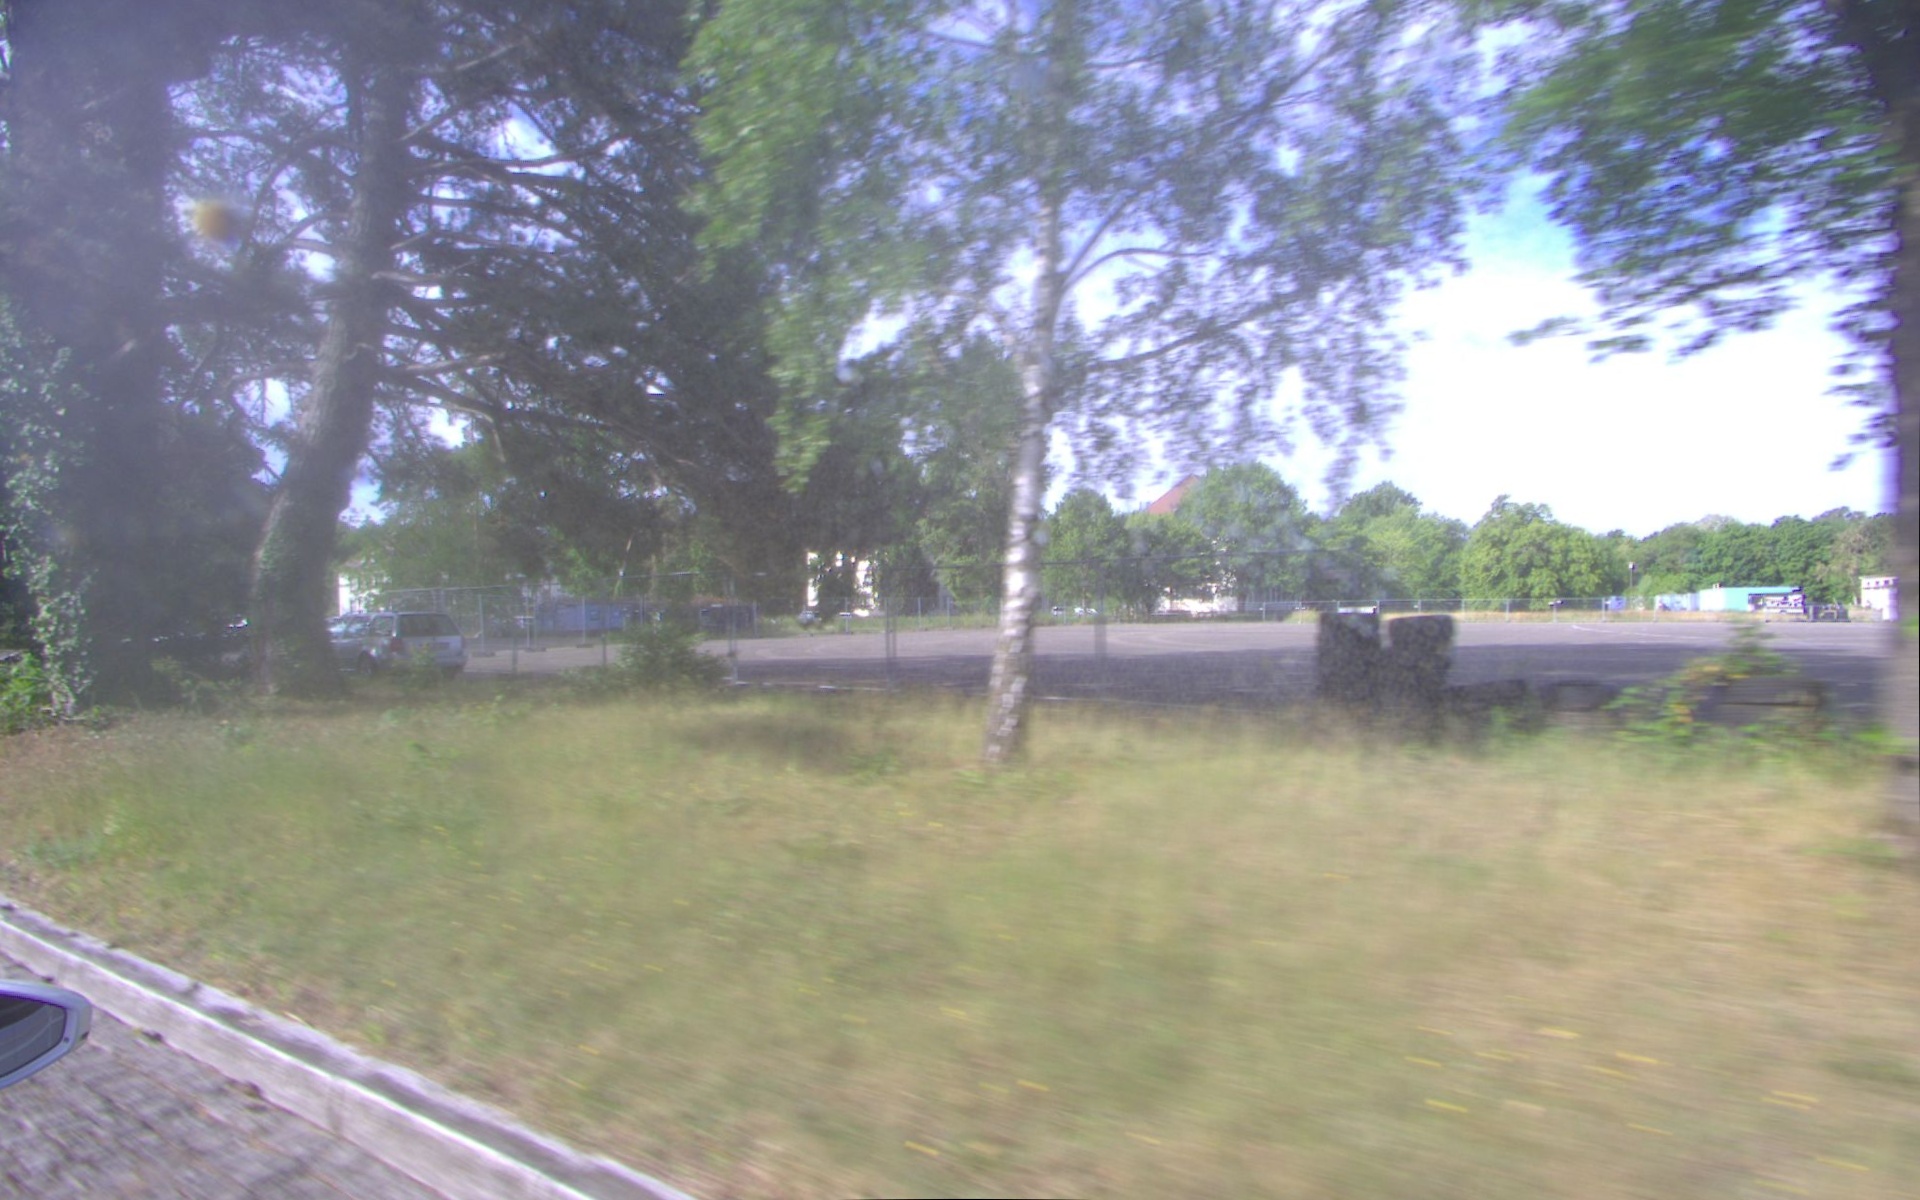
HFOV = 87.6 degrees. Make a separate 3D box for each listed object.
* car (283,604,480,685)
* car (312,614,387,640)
[{"bbox_3d":[-11.758,0.858,20.310,3.939,1.487,1.665,-1,0,29],"label":"car"},{"bbox_3d":[-34.171,1.499,56.019,4.266,1.329,1.729,-1,0,29],"label":"car"}]
